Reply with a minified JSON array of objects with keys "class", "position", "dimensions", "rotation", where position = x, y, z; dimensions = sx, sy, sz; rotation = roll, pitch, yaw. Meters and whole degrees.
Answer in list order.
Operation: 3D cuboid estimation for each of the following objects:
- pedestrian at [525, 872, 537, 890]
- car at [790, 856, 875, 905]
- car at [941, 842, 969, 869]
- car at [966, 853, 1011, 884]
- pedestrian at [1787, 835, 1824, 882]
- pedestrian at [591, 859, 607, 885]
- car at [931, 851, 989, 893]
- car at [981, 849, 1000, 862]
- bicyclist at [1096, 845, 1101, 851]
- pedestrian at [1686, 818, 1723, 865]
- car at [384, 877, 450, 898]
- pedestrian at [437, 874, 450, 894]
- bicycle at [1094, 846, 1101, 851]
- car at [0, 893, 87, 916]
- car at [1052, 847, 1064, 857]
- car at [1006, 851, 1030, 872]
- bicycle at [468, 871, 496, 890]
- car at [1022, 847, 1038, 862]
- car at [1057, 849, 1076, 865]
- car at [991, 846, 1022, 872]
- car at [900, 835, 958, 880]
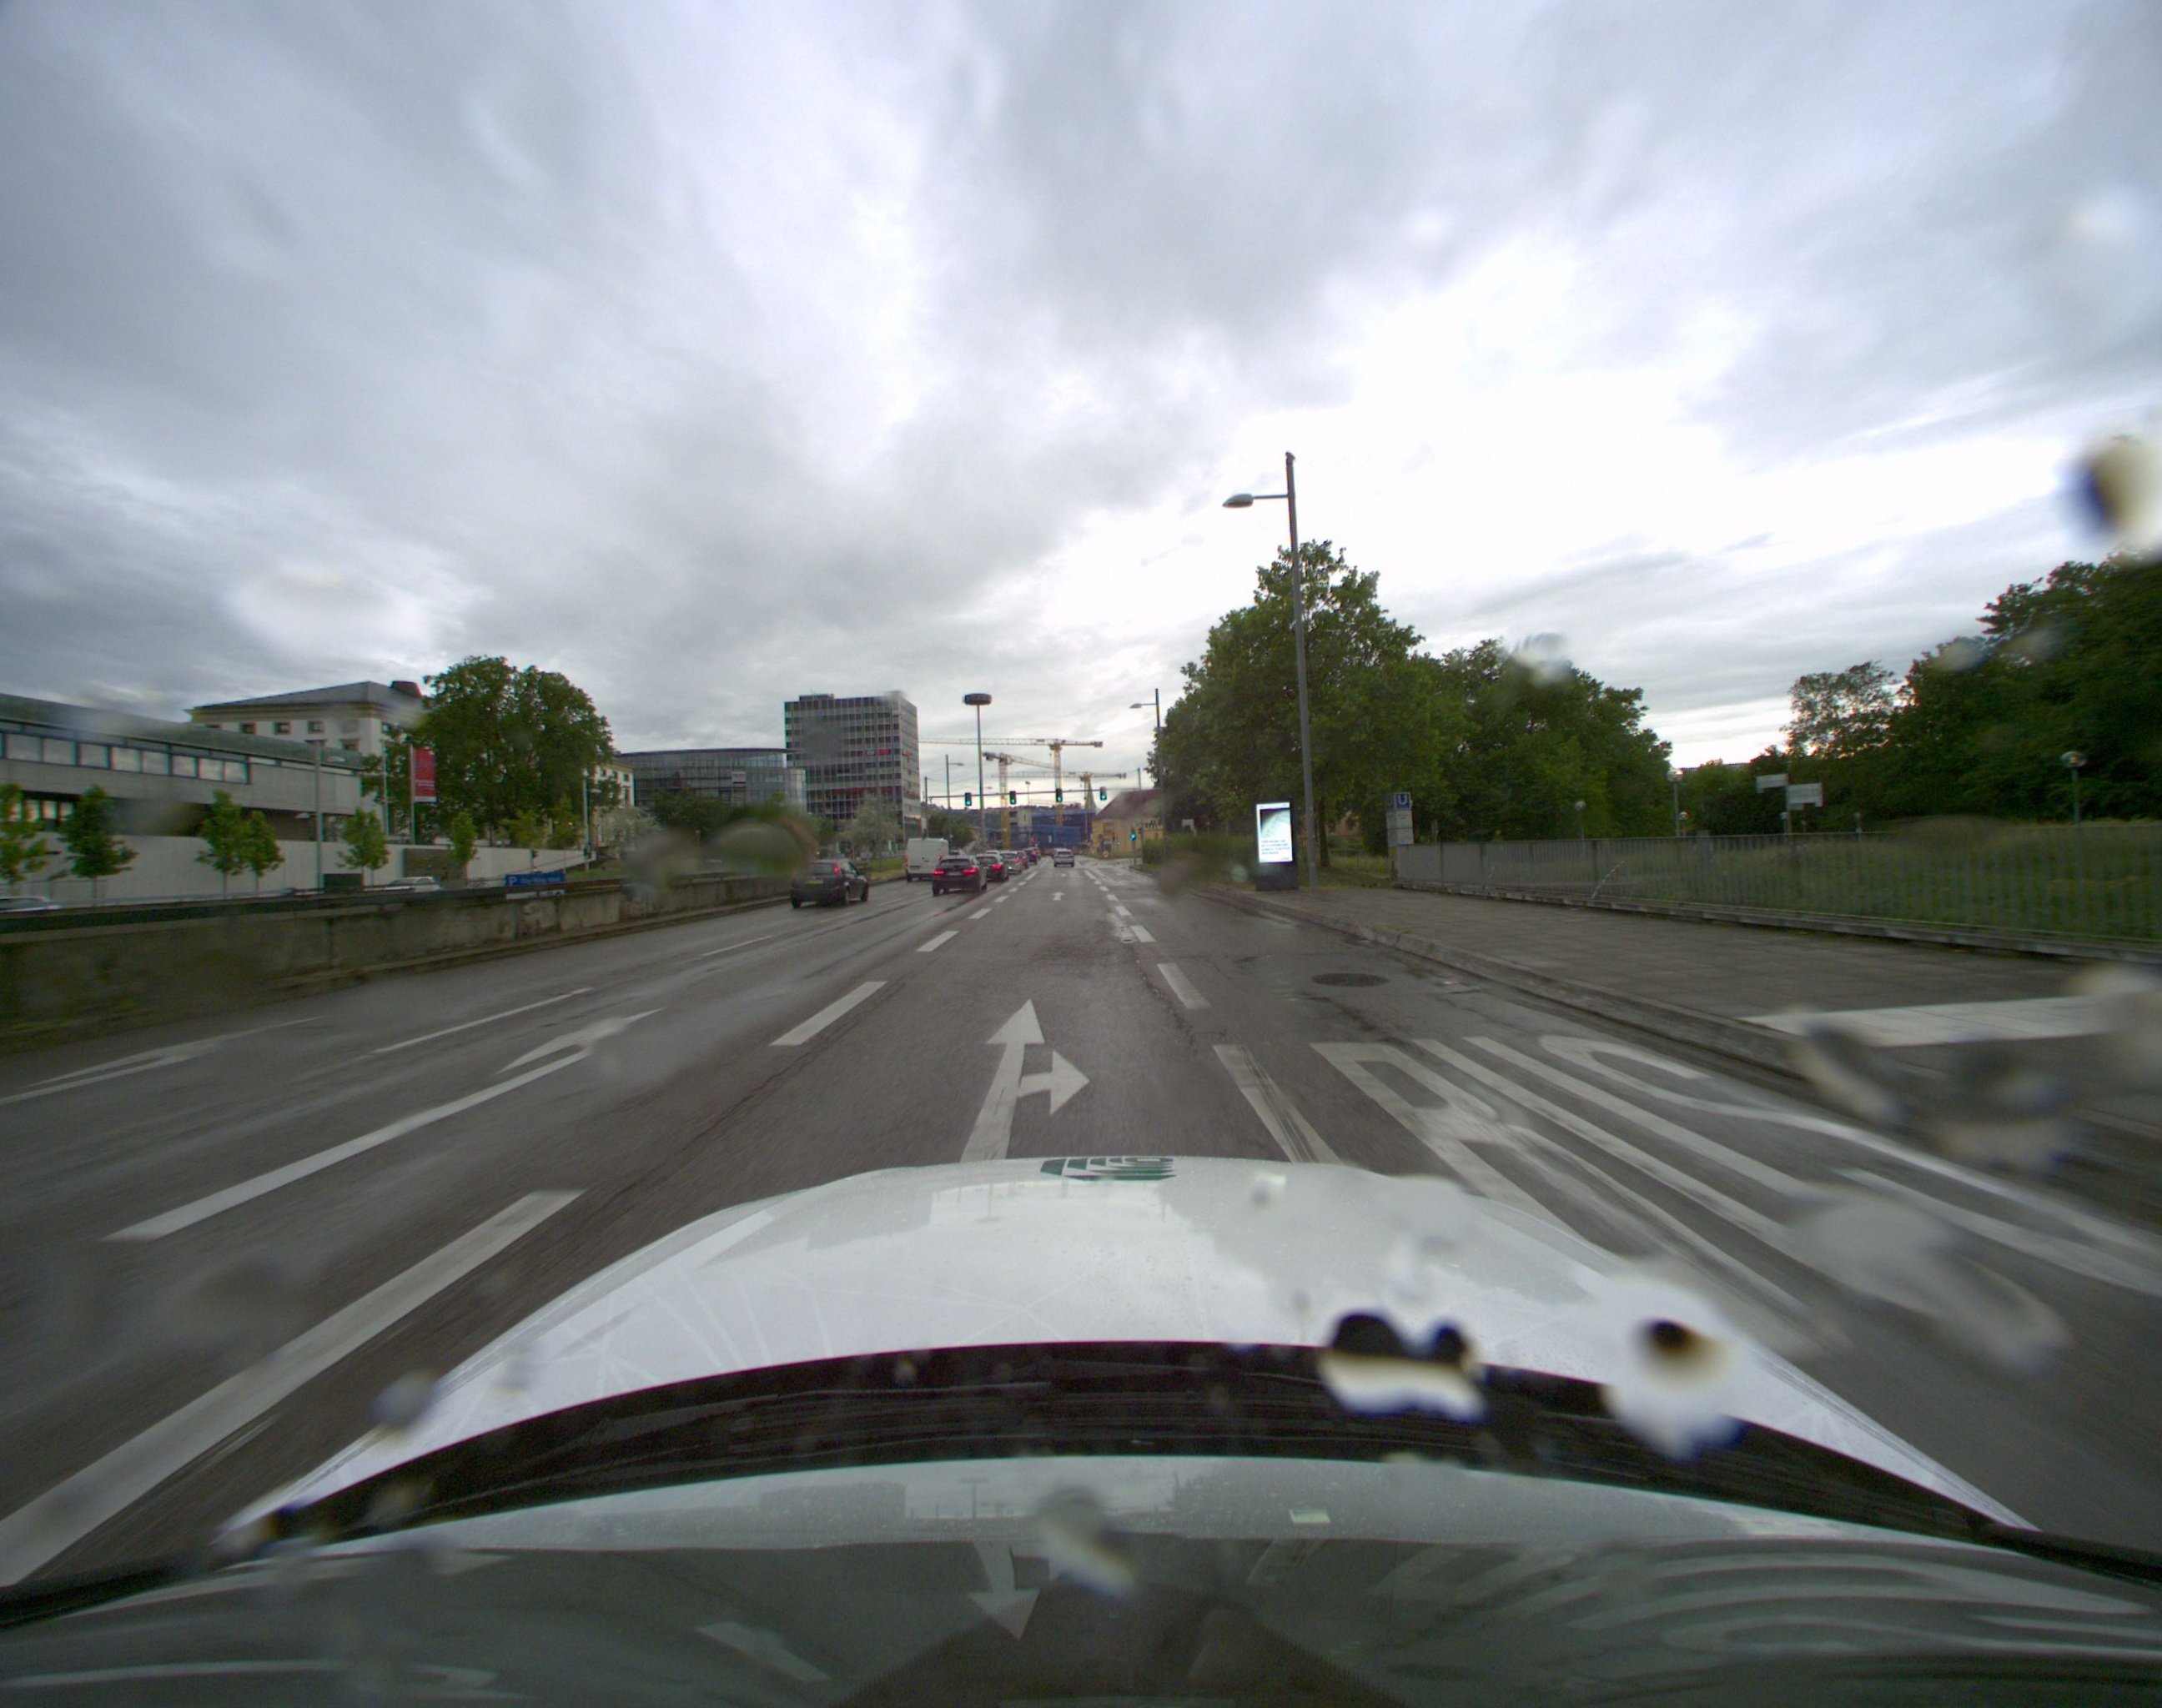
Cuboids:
[{"class":"pedestrian","position":[-45.342,2.222,67.131],"dimensions":[0.489,1.423,0.635],"rotation":[-1,-1,12]},{"class":"car","position":[-7.736,0.807,25.675],"dimensions":[1.538,1.415,3.899],"rotation":[-1,-1,-1]},{"class":"car","position":[-8.273,0.104,53.806],"dimensions":[1.461,1.706,3.138],"rotation":[-1,-1,-3]},{"class":"car","position":[-4.716,0.728,41.945],"dimensions":[1.823,1.495,3.399],"rotation":[-1,-1,1]},{"class":"pedestrian","position":[26.664,0.180,29.984],"dimensions":[0.764,1.692,0.652],"rotation":[-1,-1,15]},{"class":"pedestrian","position":[-40.323,1.470,68.085],"dimensions":[0.765,2.090,0.726],"rotation":[-1,5,-2]},{"class":"car","position":[-4.693,0.659,32.056],"dimensions":[1.749,1.471,4.219],"rotation":[-1,1,-2]},{"class":"car","position":[-8.921,0.149,80.290],"dimensions":[1.546,1.260,2.579],"rotation":[-1,-1,-1]},{"class":"bicyclist","position":[3.718,-1.281,173.312],"dimensions":[0.705,1.275,0.631],"rotation":[-1,-1,-17]},{"class":"pedestrian","position":[22.375,-0.442,29.216],"dimensions":[0.730,1.642,0.822],"rotation":[0,-2,-36]},{"class":"car","position":[-38.781,1.933,47.634],"dimensions":[1.436,1.114,3.018],"rotation":[-1,-1,-2]},{"class":"pedestrian","position":[-43.902,2.042,56.066],"dimensions":[0.466,1.383,0.576],"rotation":[-1,-1,-3]},{"class":"bicycle","position":[3.564,-1.121,173.556],"dimensions":[0.882,1.010,1.981],"rotation":[-1,-1,-16]},{"class":"car","position":[-38.009,1.825,29.561],"dimensions":[0.817,0.745,2.550],"rotation":[-1,-1,-4]},{"class":"car","position":[-2.464,-0.233,87.220],"dimensions":[1.072,0.990,1.972],"rotation":[-1,-2,2]},{"class":"car","position":[-5.203,0.634,67.150],"dimensions":[1.711,1.727,3.493],"rotation":[-1,-1,-1]},{"class":"bicycle","position":[-42.270,1.888,57.436],"dimensions":[1.479,1.307,0.555],"rotation":[-1,-1,-16]},{"class":"car","position":[-5.013,0.090,80.198],"dimensions":[1.489,1.369,3.031],"rotation":[-1,-1,-1]},{"class":"car","position":[-1.229,0.263,69.905],"dimensions":[1.439,1.359,2.413],"rotation":[-1,-1,2]},{"class":"car","position":[-4.905,0.356,54.118],"dimensions":[1.876,1.653,3.453],"rotation":[-1,-1,-4]},{"class":"car","position":[-8.429,0.228,45.688],"dimensions":[2.285,2.314,5.004],"rotation":[-1,-1,0]}]
